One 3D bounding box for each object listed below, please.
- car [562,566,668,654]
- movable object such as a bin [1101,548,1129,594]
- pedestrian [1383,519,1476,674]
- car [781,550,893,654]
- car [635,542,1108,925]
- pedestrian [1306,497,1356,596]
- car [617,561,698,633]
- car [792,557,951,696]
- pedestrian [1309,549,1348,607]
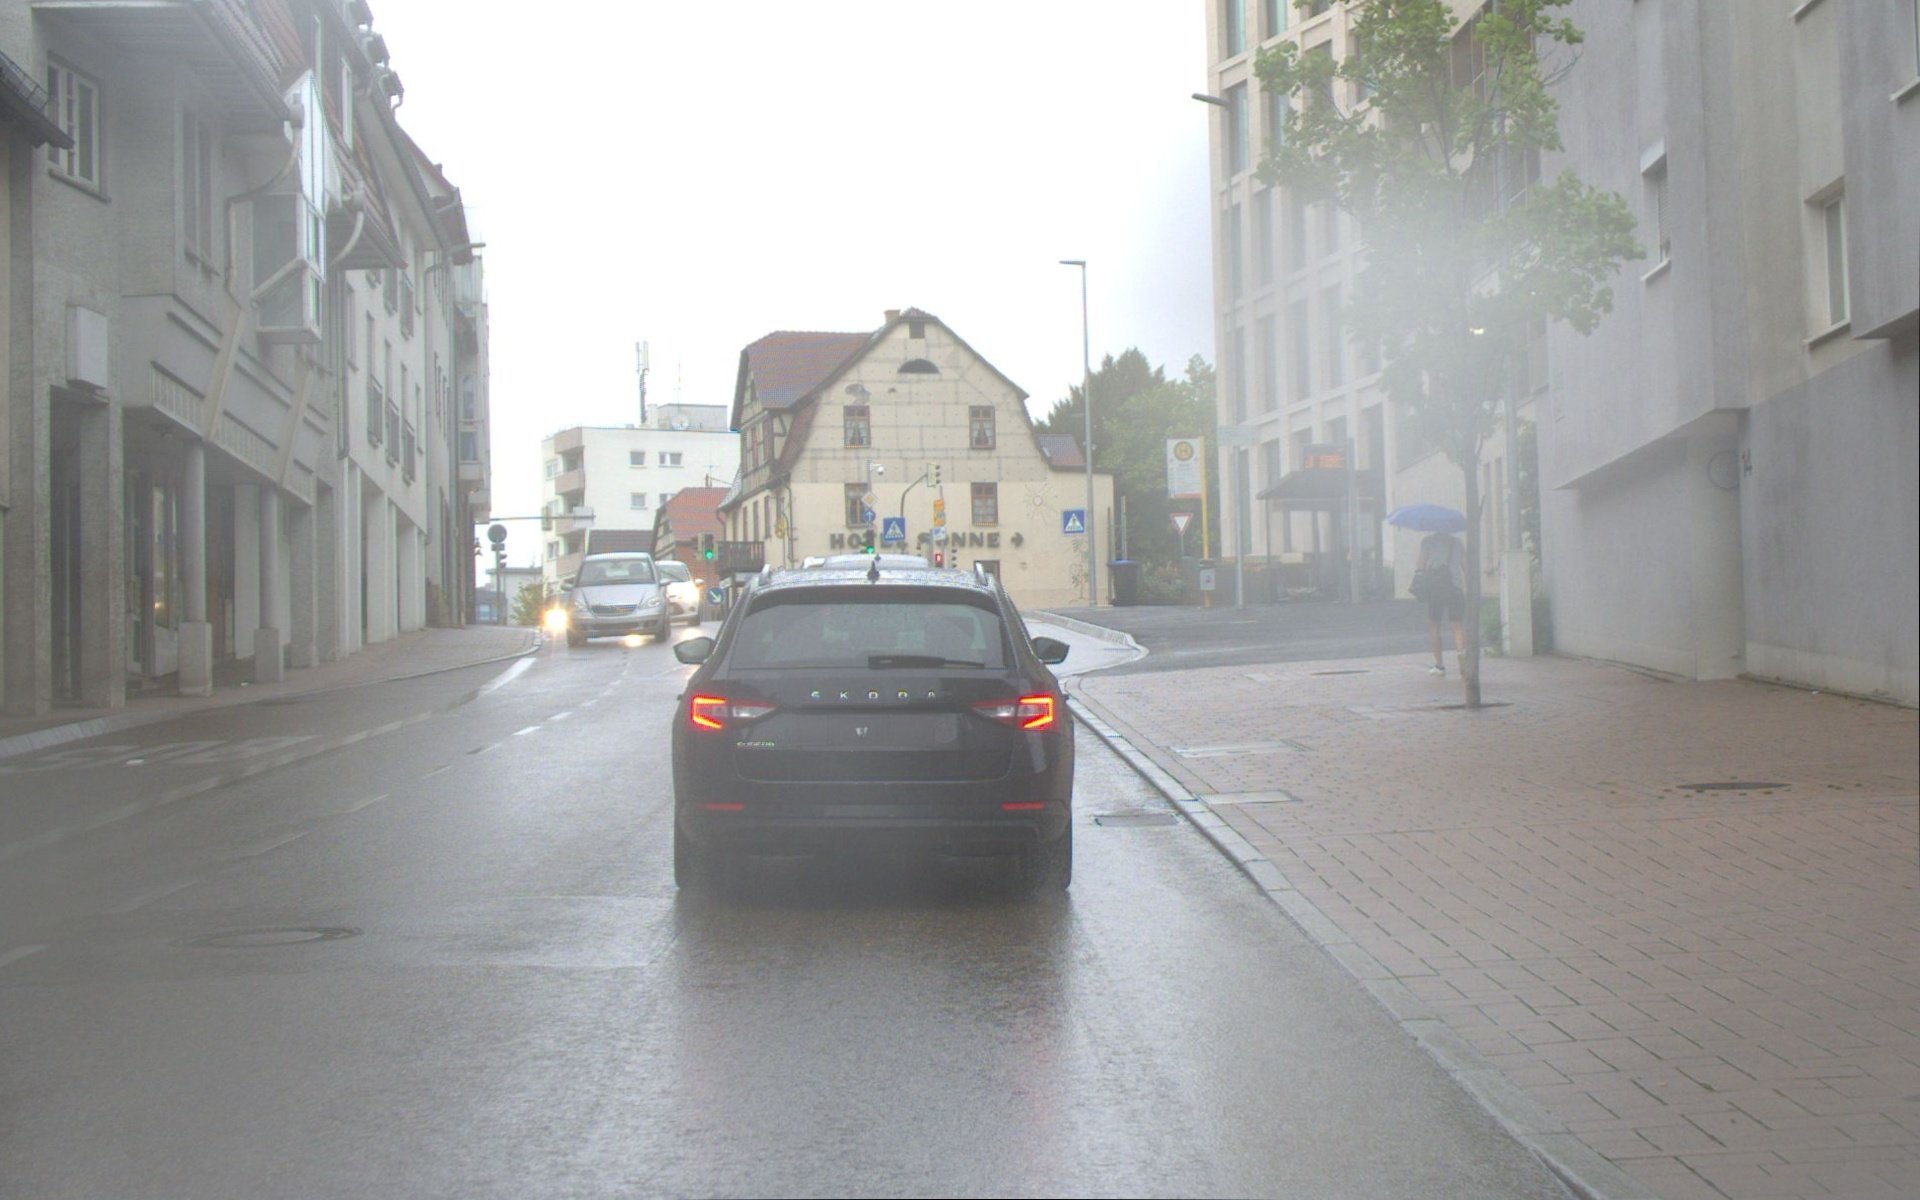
[{"bbox_3d":[-6.201,0.154,62.122,1.677,1.505,3.589,-1,1,-2],"label":"car"},{"bbox_3d":[3.675,-0.688,81.513,0.595,1.058,0.579,-2,0,-2],"label":"movable object such as a bin"},{"bbox_3d":[4.864,-0.043,35.668,0.736,1.537,1.038,-4,0,2],"label":"pedestrian"},{"bbox_3d":[-1.950,0.003,54.874,1.680,1.555,4.000,-2,1,-2],"label":"car"},{"bbox_3d":[-0.425,0.528,16.555,1.944,1.561,4.417,-1,1,-1],"label":"car"},{"bbox_3d":[7.452,-1.074,69.096,0.782,1.933,1.021,-3,0,-1],"label":"pedestrian"},{"bbox_3d":[-6.619,-0.094,75.453,1.677,1.505,3.589,-1,1,-4],"label":"car"},{"bbox_3d":[-1.072,0.273,40.140,1.677,1.505,3.589,-1,1,-4],"label":"car"},{"bbox_3d":[7.561,-0.450,70.512,0.672,1.158,0.635,-3,0,-1],"label":"pedestrian"}]
